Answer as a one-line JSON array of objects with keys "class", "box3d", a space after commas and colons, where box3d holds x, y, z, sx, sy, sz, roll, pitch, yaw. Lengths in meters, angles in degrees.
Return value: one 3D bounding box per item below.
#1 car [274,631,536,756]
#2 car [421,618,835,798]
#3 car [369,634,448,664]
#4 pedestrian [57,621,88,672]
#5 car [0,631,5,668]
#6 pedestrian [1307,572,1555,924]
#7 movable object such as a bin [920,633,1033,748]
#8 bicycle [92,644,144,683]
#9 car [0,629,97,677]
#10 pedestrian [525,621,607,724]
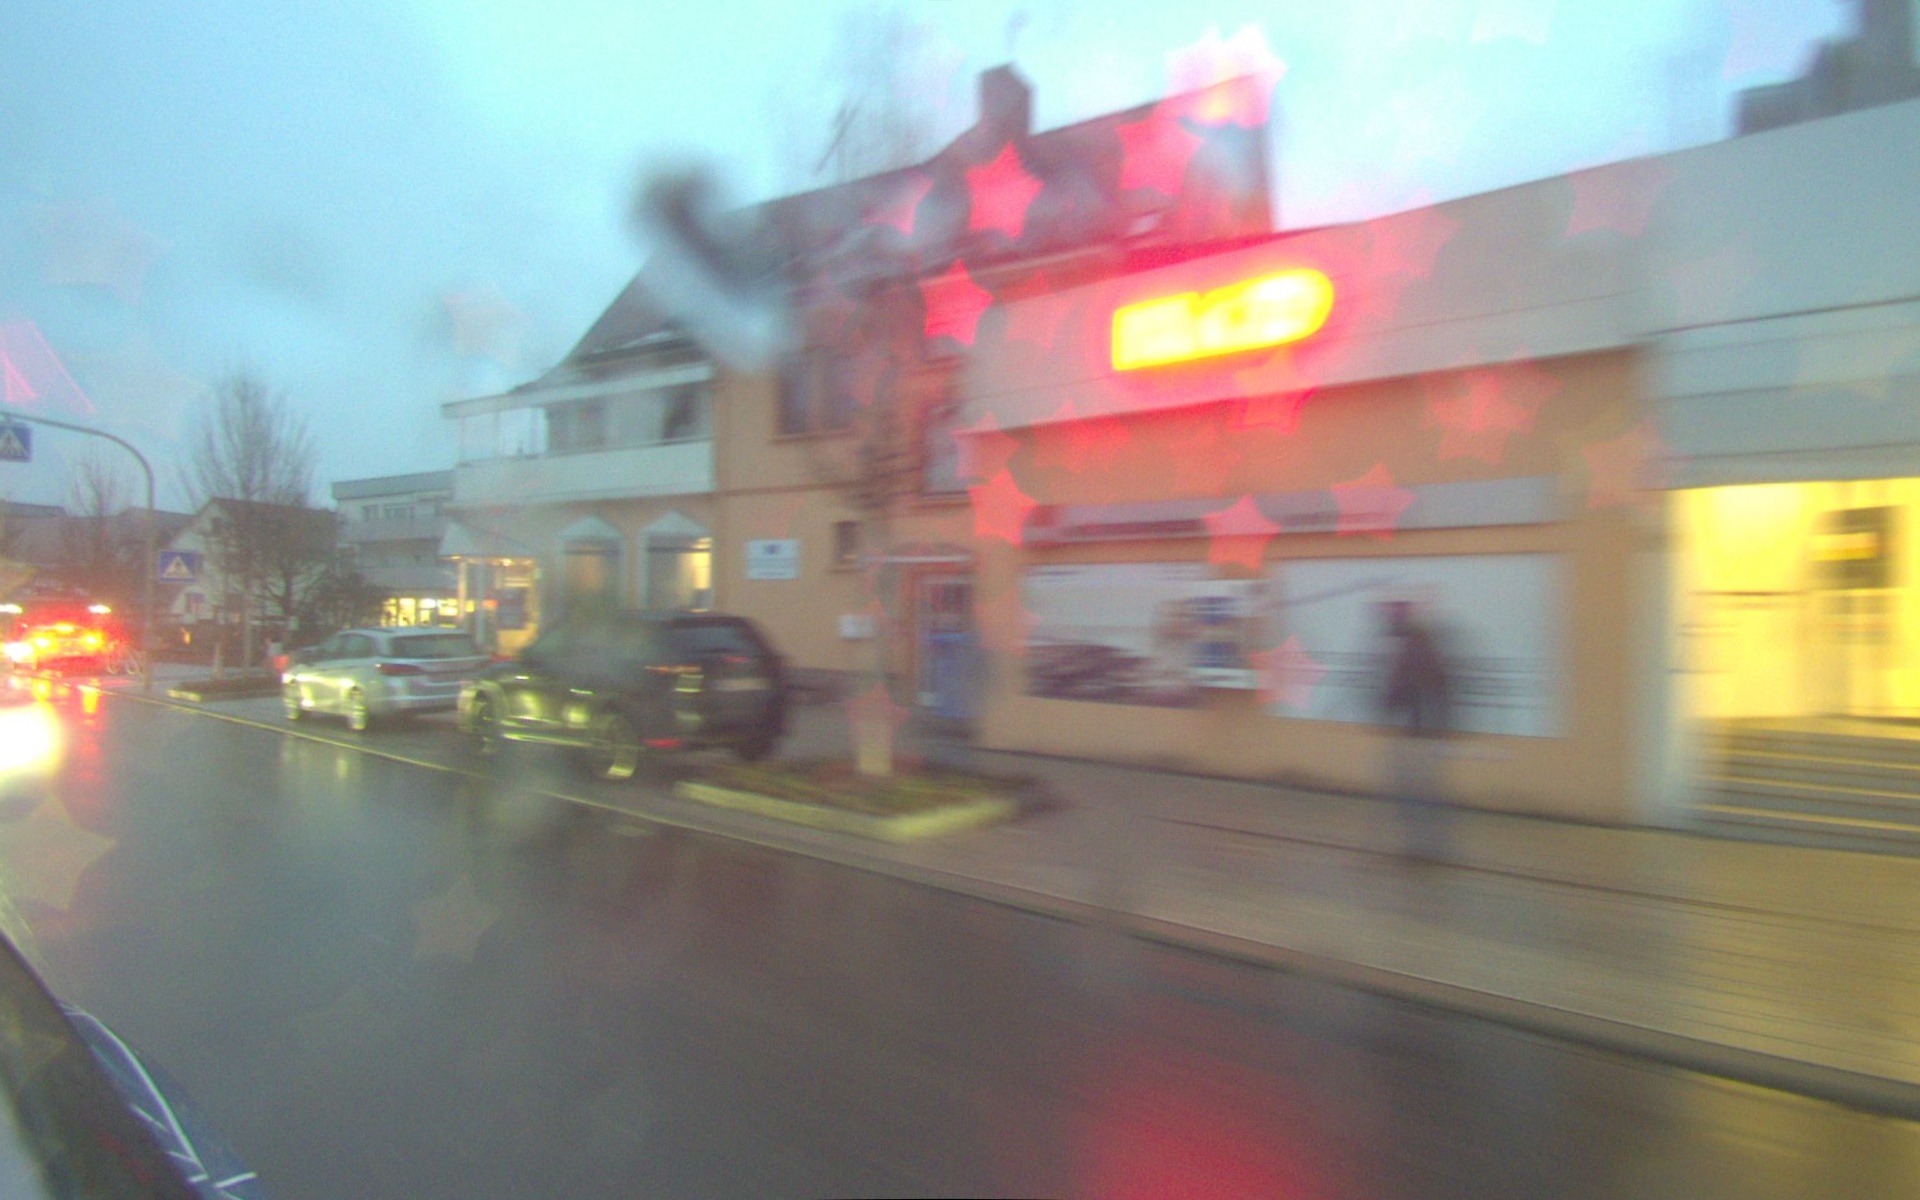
[{"class": "car", "box3d": [-8.548, 1.278, 15.417, 4.617, 1.570, 1.973, -1, -1, 40]}, {"class": "car", "box3d": [-3.790, 0.978, 11.032, 4.973, 1.534, 1.973, -1, -1, 40]}, {"class": "car", "box3d": [-30.081, 2.664, 55.183, 3.984, 1.576, 1.980, -1, -3, 30]}, {"class": "pedestrian", "box3d": [-35.907, 1.872, 40.960, 0.890, 2.029, 0.791, 1, -2, -44]}, {"class": "car", "box3d": [-40.579, 2.038, 41.322, 4.370, 1.442, 1.678, -2, -1, 38]}, {"class": "pedestrian", "box3d": [2.830, 0.804, 6.121, 0.995, 1.890, 0.945, 0, -2, -33]}, {"class": "movable object such as a bin", "box3d": [0.235, 1.136, 12.940, 0.885, 1.364, 1.331, -1, -4, 30]}, {"class": "bicycle", "box3d": [-24.124, 1.824, 29.005, 1.733, 1.070, 0.322, -2, -7, 23]}, {"class": "car", "box3d": [-31.335, 1.768, 34.736, 4.176, 1.500, 1.767, -1, 0, 38]}, {"class": "pedestrian", "box3d": [-6.750, 1.217, 17.359, 1.094, 1.671, 0.819, -1, 0, 34]}]
